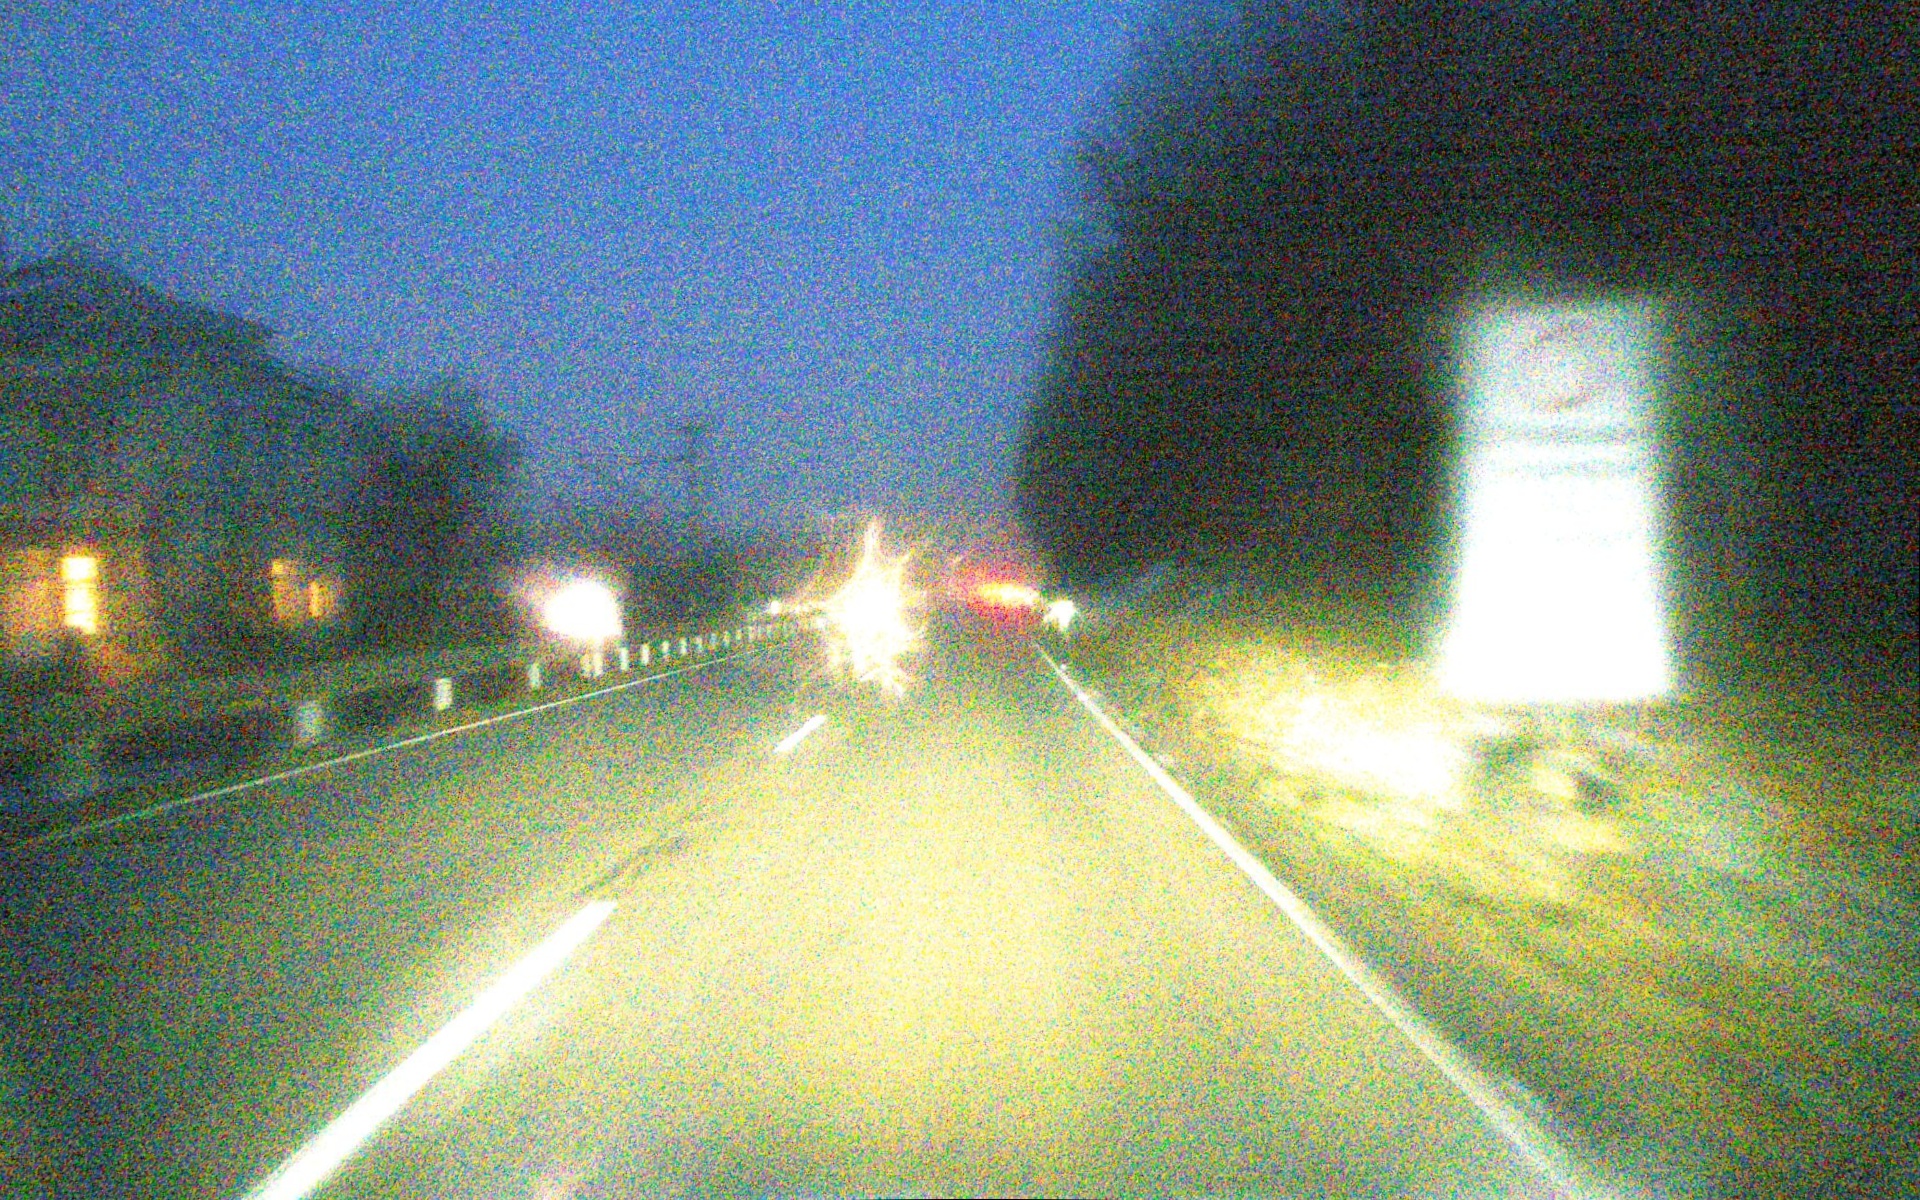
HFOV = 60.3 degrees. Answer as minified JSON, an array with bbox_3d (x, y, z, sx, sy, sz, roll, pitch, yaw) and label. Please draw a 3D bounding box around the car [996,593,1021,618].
[{"bbox_3d":[4.336,0.544,148.202,2.151,2.049,4.207,0,-3,2],"label":"car"}]
